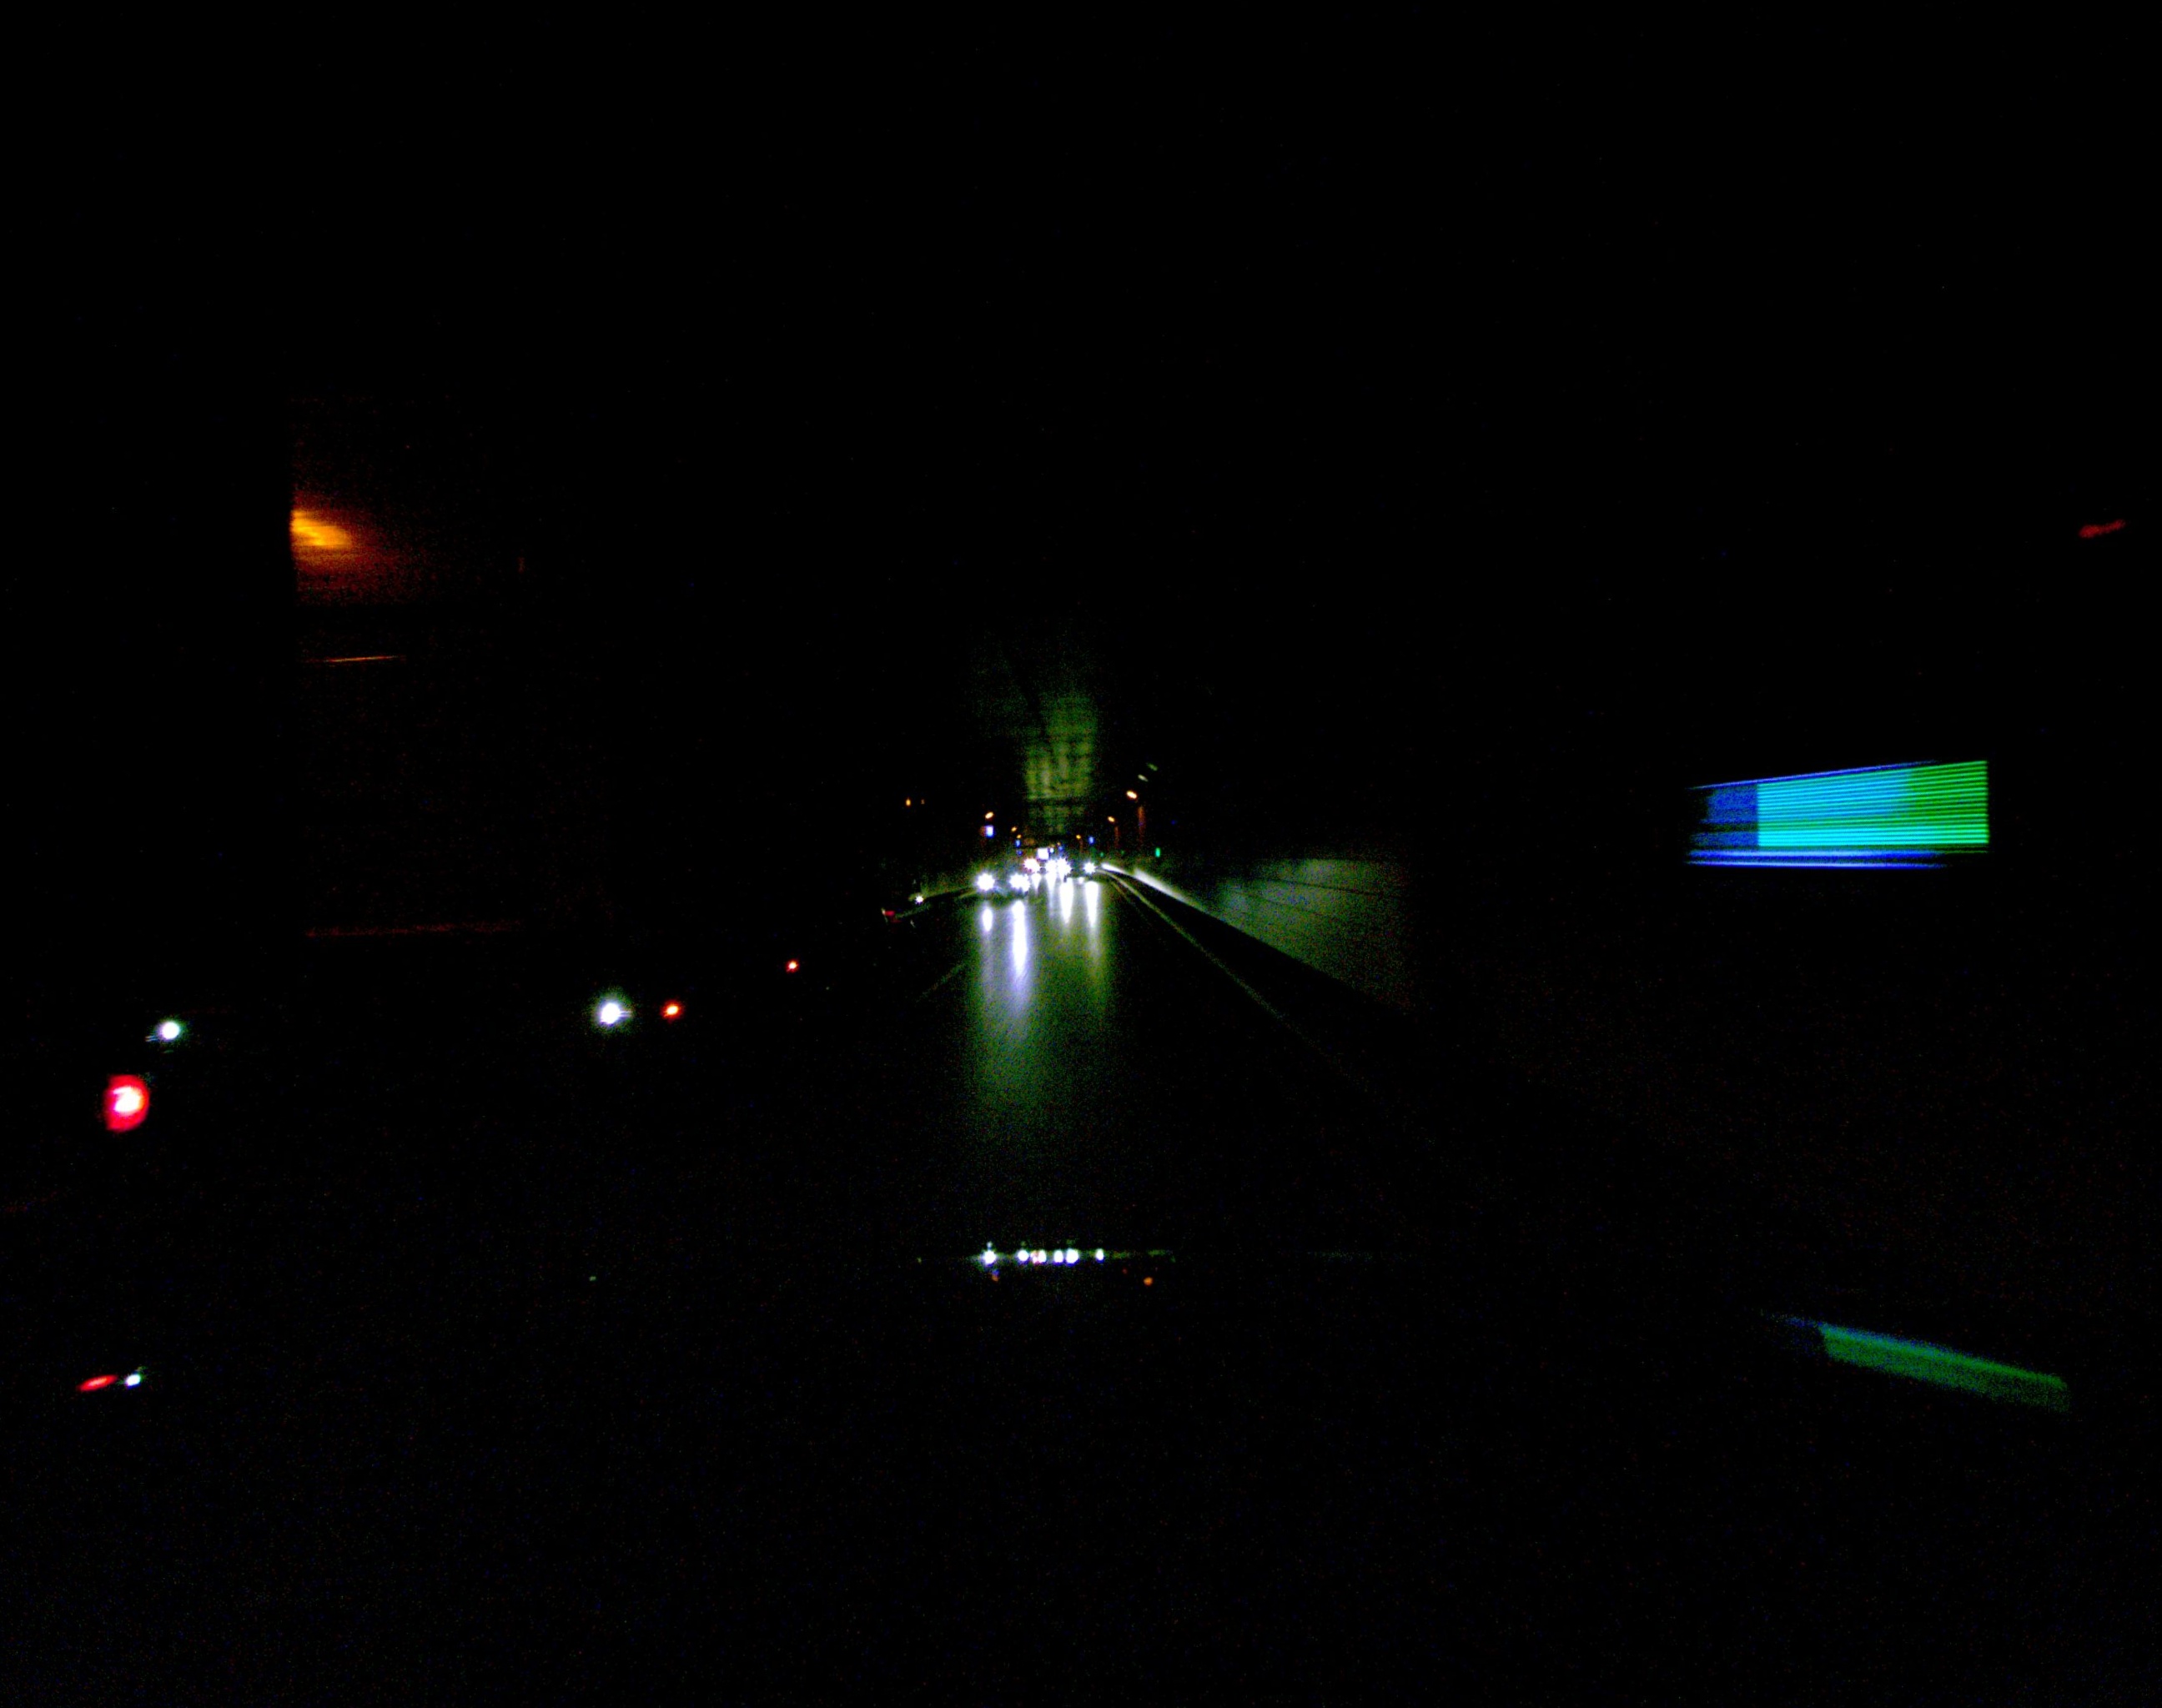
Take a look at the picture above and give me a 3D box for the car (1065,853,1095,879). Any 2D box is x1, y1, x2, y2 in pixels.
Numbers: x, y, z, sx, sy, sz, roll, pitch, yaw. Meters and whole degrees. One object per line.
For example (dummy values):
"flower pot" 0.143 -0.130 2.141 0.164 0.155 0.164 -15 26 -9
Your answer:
"car" -0.077 0.737 48.651 1.820 1.589 3.999 -1 0 -1

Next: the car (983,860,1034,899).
"car" -2.989 1.031 32.051 1.735 1.395 3.798 -3 1 -1

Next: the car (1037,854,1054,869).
"car" -3.947 0.843 84.274 1.736 1.565 3.999 -3 0 -2

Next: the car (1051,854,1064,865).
"car" -3.695 0.862 119.906 1.999 1.576 4.650 -2 1 -3

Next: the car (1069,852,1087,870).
"car" -0.347 0.723 82.986 1.715 1.729 3.998 -2 2 -3

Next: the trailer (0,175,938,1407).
"trailer" -3.665 -0.144 6.869 2.882 3.835 8.947 -2 0 0

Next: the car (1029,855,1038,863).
"car" -11.514 1.185 185.529 1.999 1.674 3.999 -2 1 -1
